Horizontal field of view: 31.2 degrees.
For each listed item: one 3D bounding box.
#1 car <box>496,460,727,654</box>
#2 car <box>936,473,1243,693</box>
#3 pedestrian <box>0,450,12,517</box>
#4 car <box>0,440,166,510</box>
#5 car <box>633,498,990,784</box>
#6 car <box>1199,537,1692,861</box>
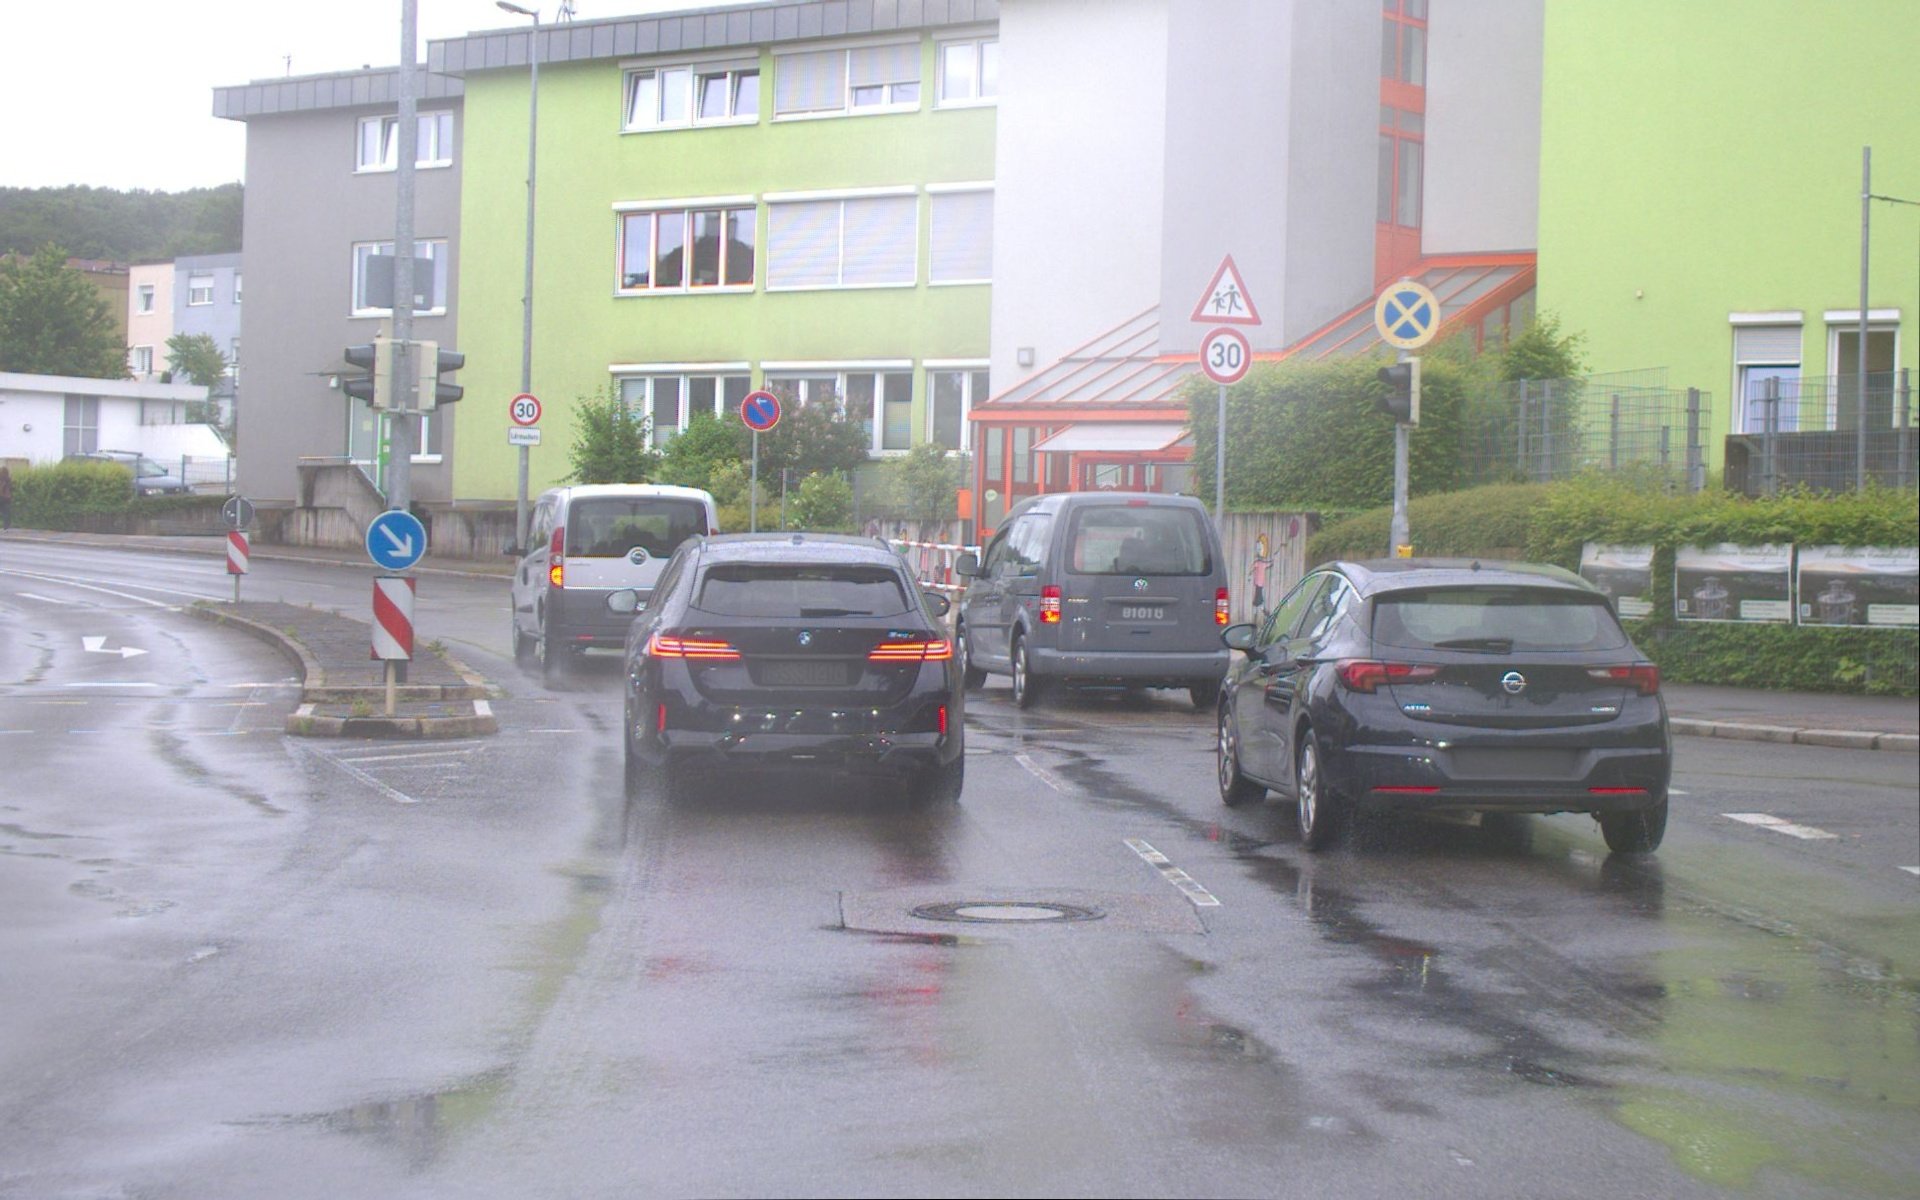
[{"bbox_3d":[-3.614,-0.491,35.076,1.716,1.838,4.088,-1,2,-15],"label":"car"},{"bbox_3d":[1.048,-0.215,29.957,1.782,1.728,4.088,-1,3,-11],"label":"car"},{"bbox_3d":[-23.405,-2.835,83.687,0.421,1.615,0.473,0,2,42],"label":"pedestrian"},{"bbox_3d":[-22.759,-3.215,88.591,4.393,1.766,2.001,-1,1,-15],"label":"car"},{"bbox_3d":[-0.958,0.170,20.074,1.682,1.501,3.775,0,1,-9],"label":"car"},{"bbox_3d":[2.457,0.436,18.415,1.849,1.481,4.087,1,2,-3],"label":"car"}]
